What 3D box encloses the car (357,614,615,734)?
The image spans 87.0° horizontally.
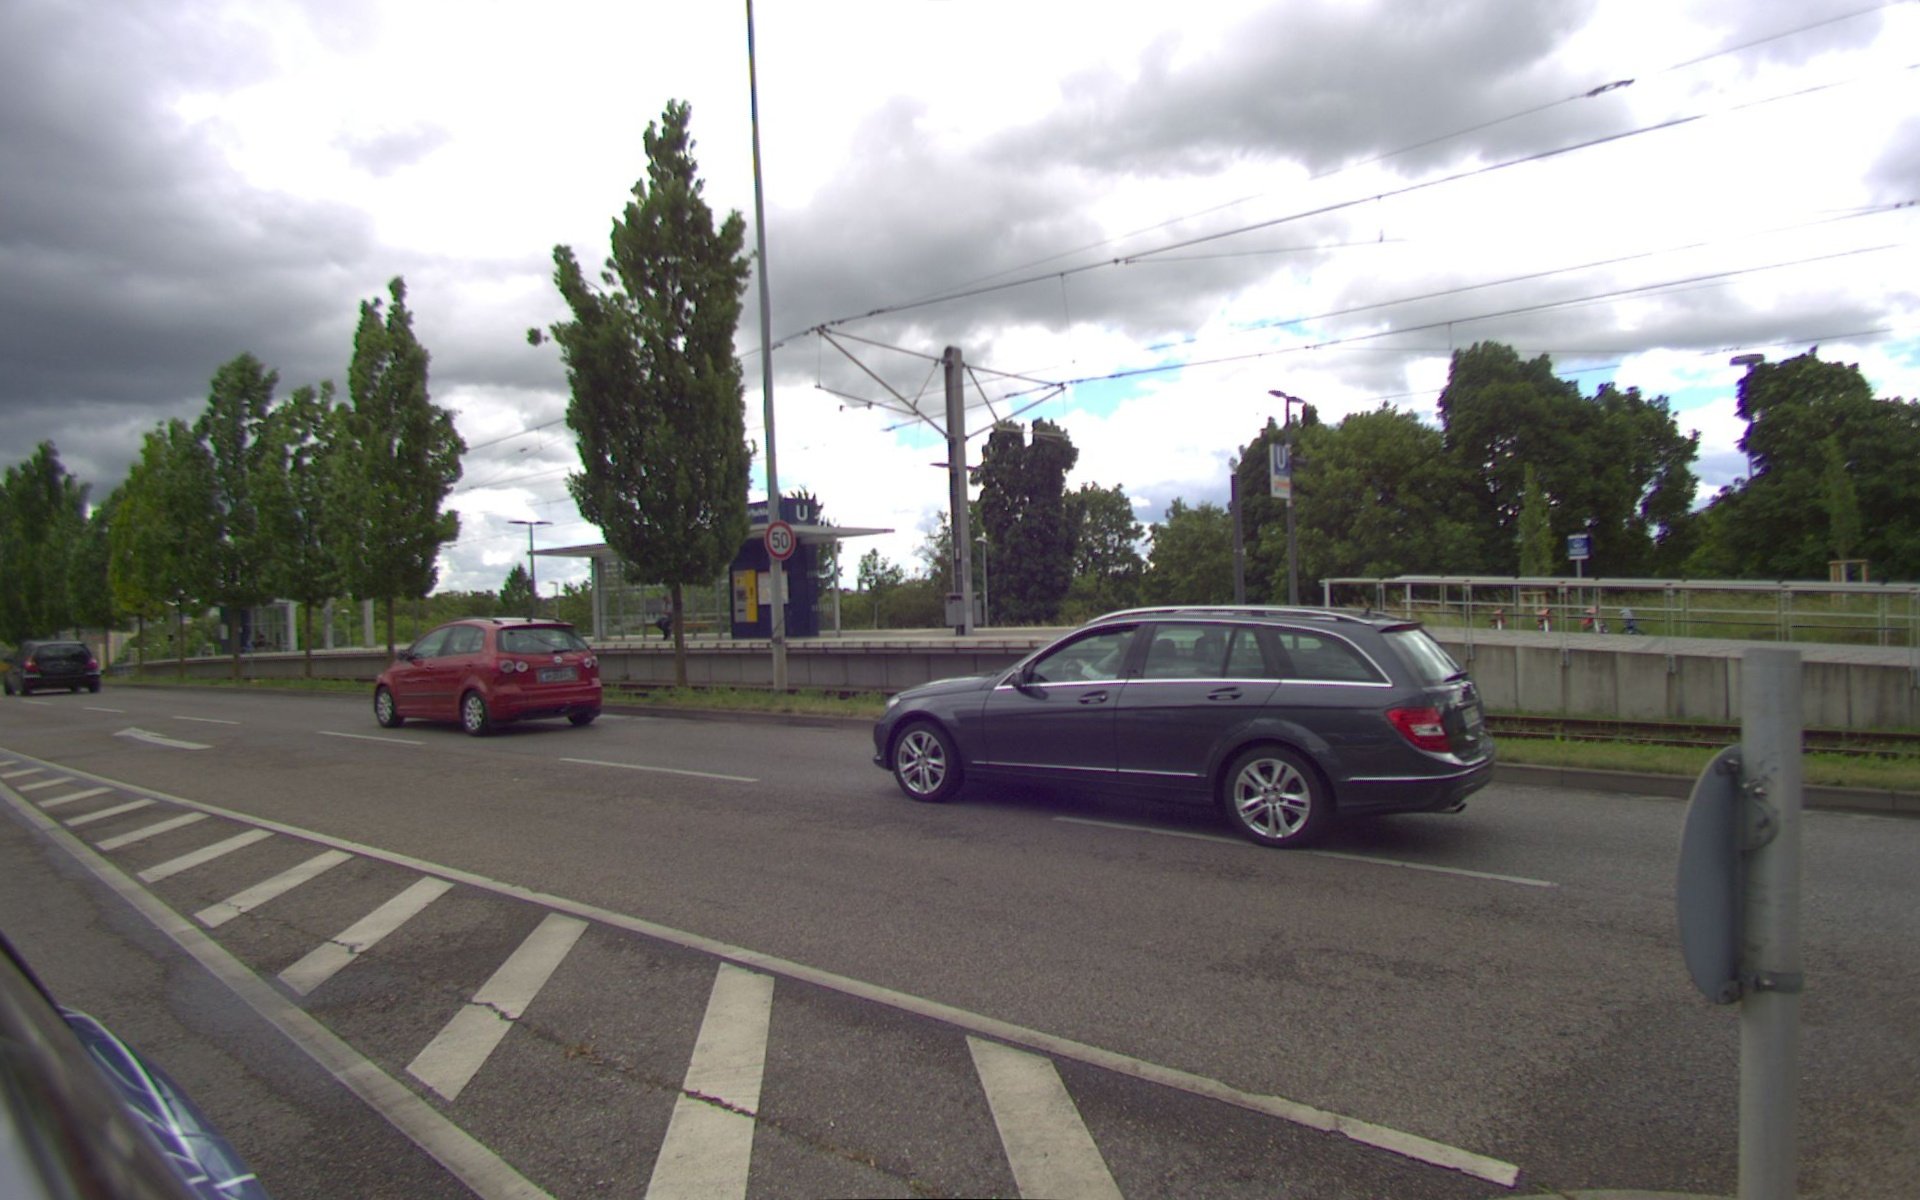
[{"bbox_3d":[-6.931,1.025,14.648,4.080,1.499,1.687,-3,-2,37],"label":"car"}]

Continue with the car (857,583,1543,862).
[{"bbox_3d":[1.494,0.700,7.329,4.538,1.450,1.675,-2,-1,37],"label":"car"}]

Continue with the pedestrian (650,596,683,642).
[{"bbox_3d":[-8.523,0.549,29.402,0.658,1.279,0.604,-6,-3,36],"label":"pedestrian"}]

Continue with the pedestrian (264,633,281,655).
[{"bbox_3d":[-35.603,2.296,52.402,0.470,1.087,0.601,-5,-4,40],"label":"pedestrian"}]

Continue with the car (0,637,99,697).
[{"bbox_3d":[-26.919,1.948,29.851,3.703,1.585,1.708,-3,-1,39],"label":"car"}]

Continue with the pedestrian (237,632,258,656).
[{"bbox_3d":[-36.886,2.281,52.418,0.665,1.208,0.753,-4,-3,40],"label":"pedestrian"}]
